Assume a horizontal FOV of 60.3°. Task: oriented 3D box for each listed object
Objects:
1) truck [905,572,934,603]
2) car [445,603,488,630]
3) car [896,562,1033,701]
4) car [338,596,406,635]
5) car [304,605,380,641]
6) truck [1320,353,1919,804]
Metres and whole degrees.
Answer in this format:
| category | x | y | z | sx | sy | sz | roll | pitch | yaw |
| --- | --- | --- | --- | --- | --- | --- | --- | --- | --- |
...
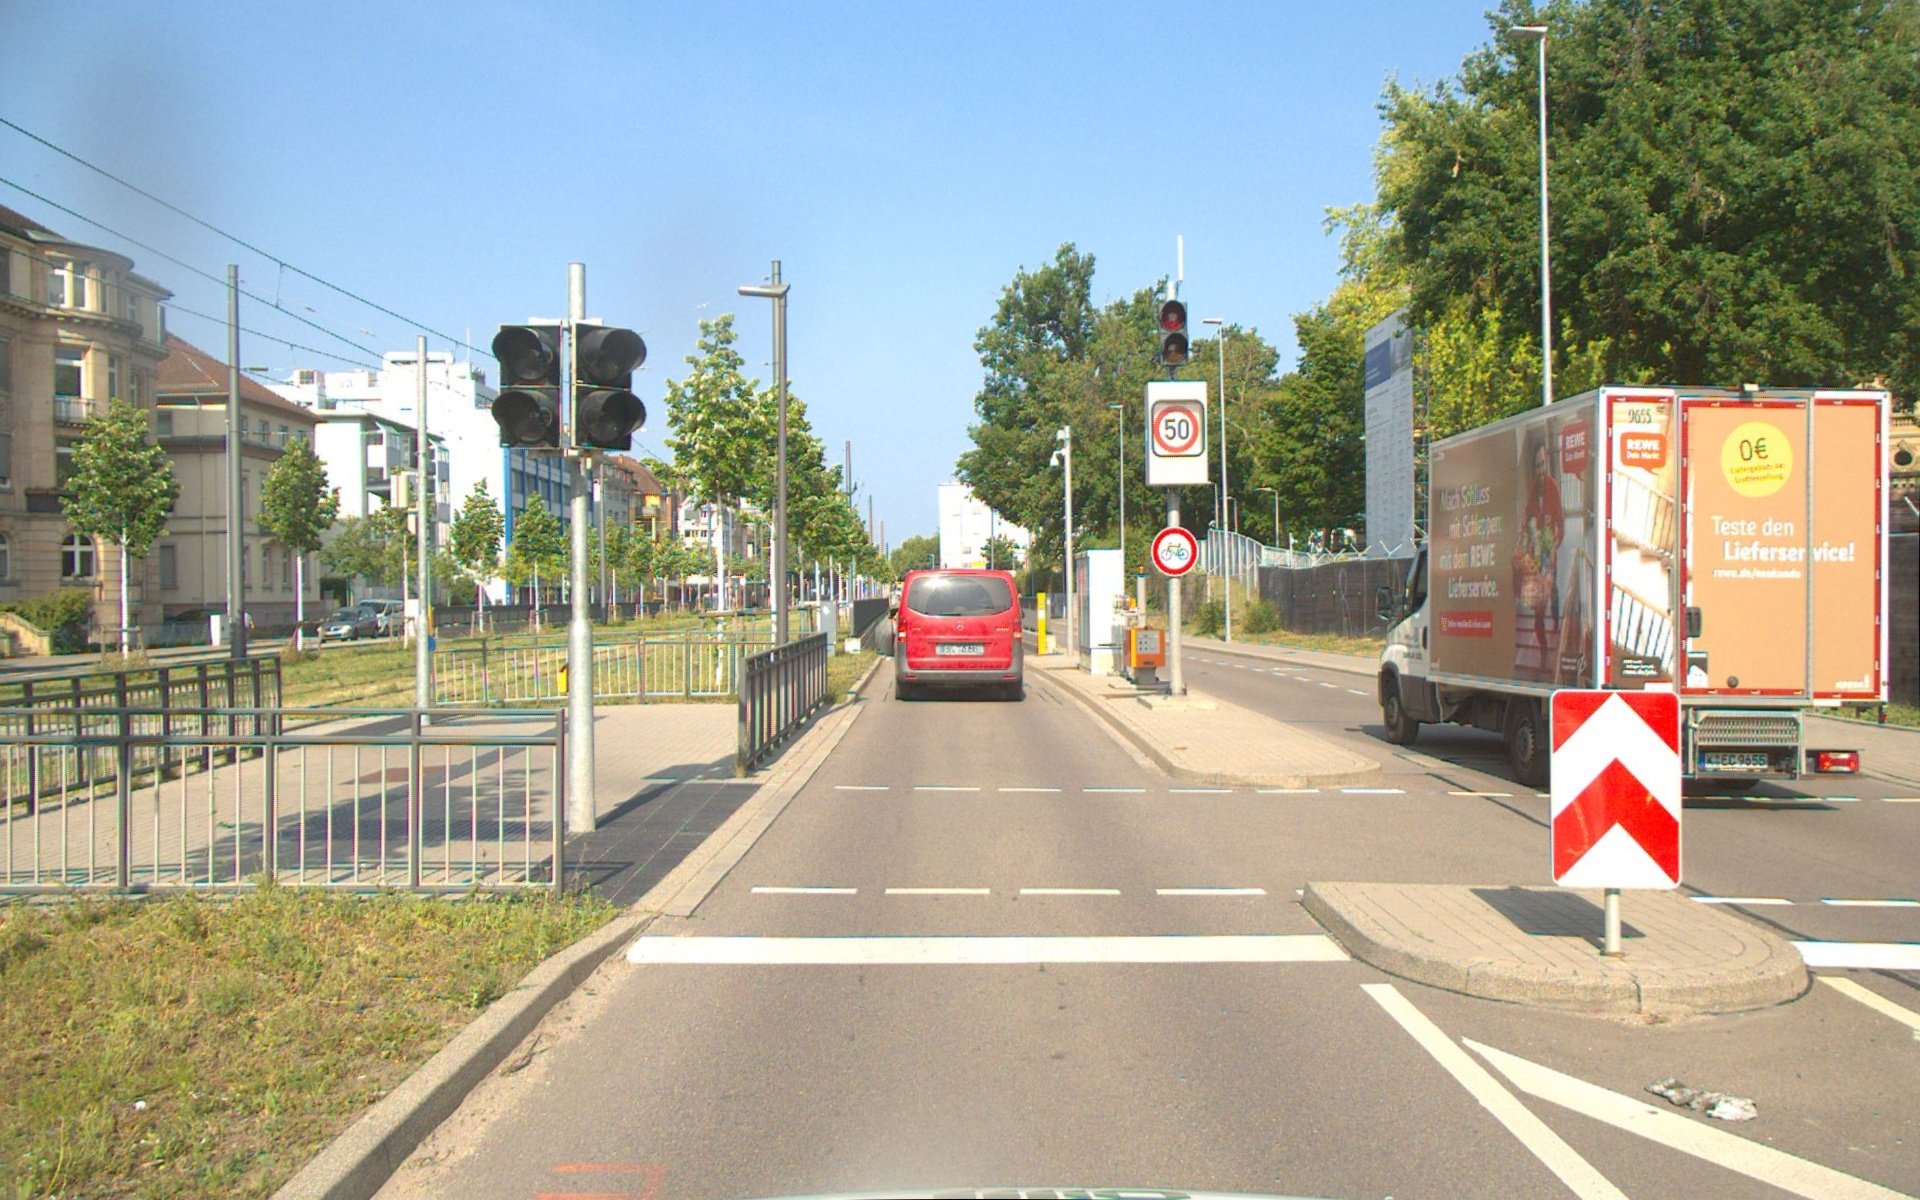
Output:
| category | x | y | z | sx | sy | sz | roll | pitch | yaw |
| --- | --- | --- | --- | --- | --- | --- | --- | --- | --- |
| truck | -5.109 | -1.541 | 207.210 | 3.323 | 3.791 | 10.446 | -1 | 0 | -2 |
| car | -28.739 | 0.946 | 96.420 | 1.488 | 1.489 | 3.822 | -1 | 0 | -3 |
| car | 0.045 | 0.436 | 24.824 | 1.862 | 1.892 | 3.999 | 1 | 0 | -1 |
| car | -33.446 | 0.928 | 94.253 | 2.204 | 2.049 | 5.259 | 1 | -2 | -3 |
| car | -28.807 | 1.050 | 77.241 | 1.954 | 1.604 | 4.526 | -1 | 0 | -3 |
| truck | 5.601 | -0.116 | 15.494 | 2.452 | 3.114 | 7.816 | 1 | 0 | -2 |
